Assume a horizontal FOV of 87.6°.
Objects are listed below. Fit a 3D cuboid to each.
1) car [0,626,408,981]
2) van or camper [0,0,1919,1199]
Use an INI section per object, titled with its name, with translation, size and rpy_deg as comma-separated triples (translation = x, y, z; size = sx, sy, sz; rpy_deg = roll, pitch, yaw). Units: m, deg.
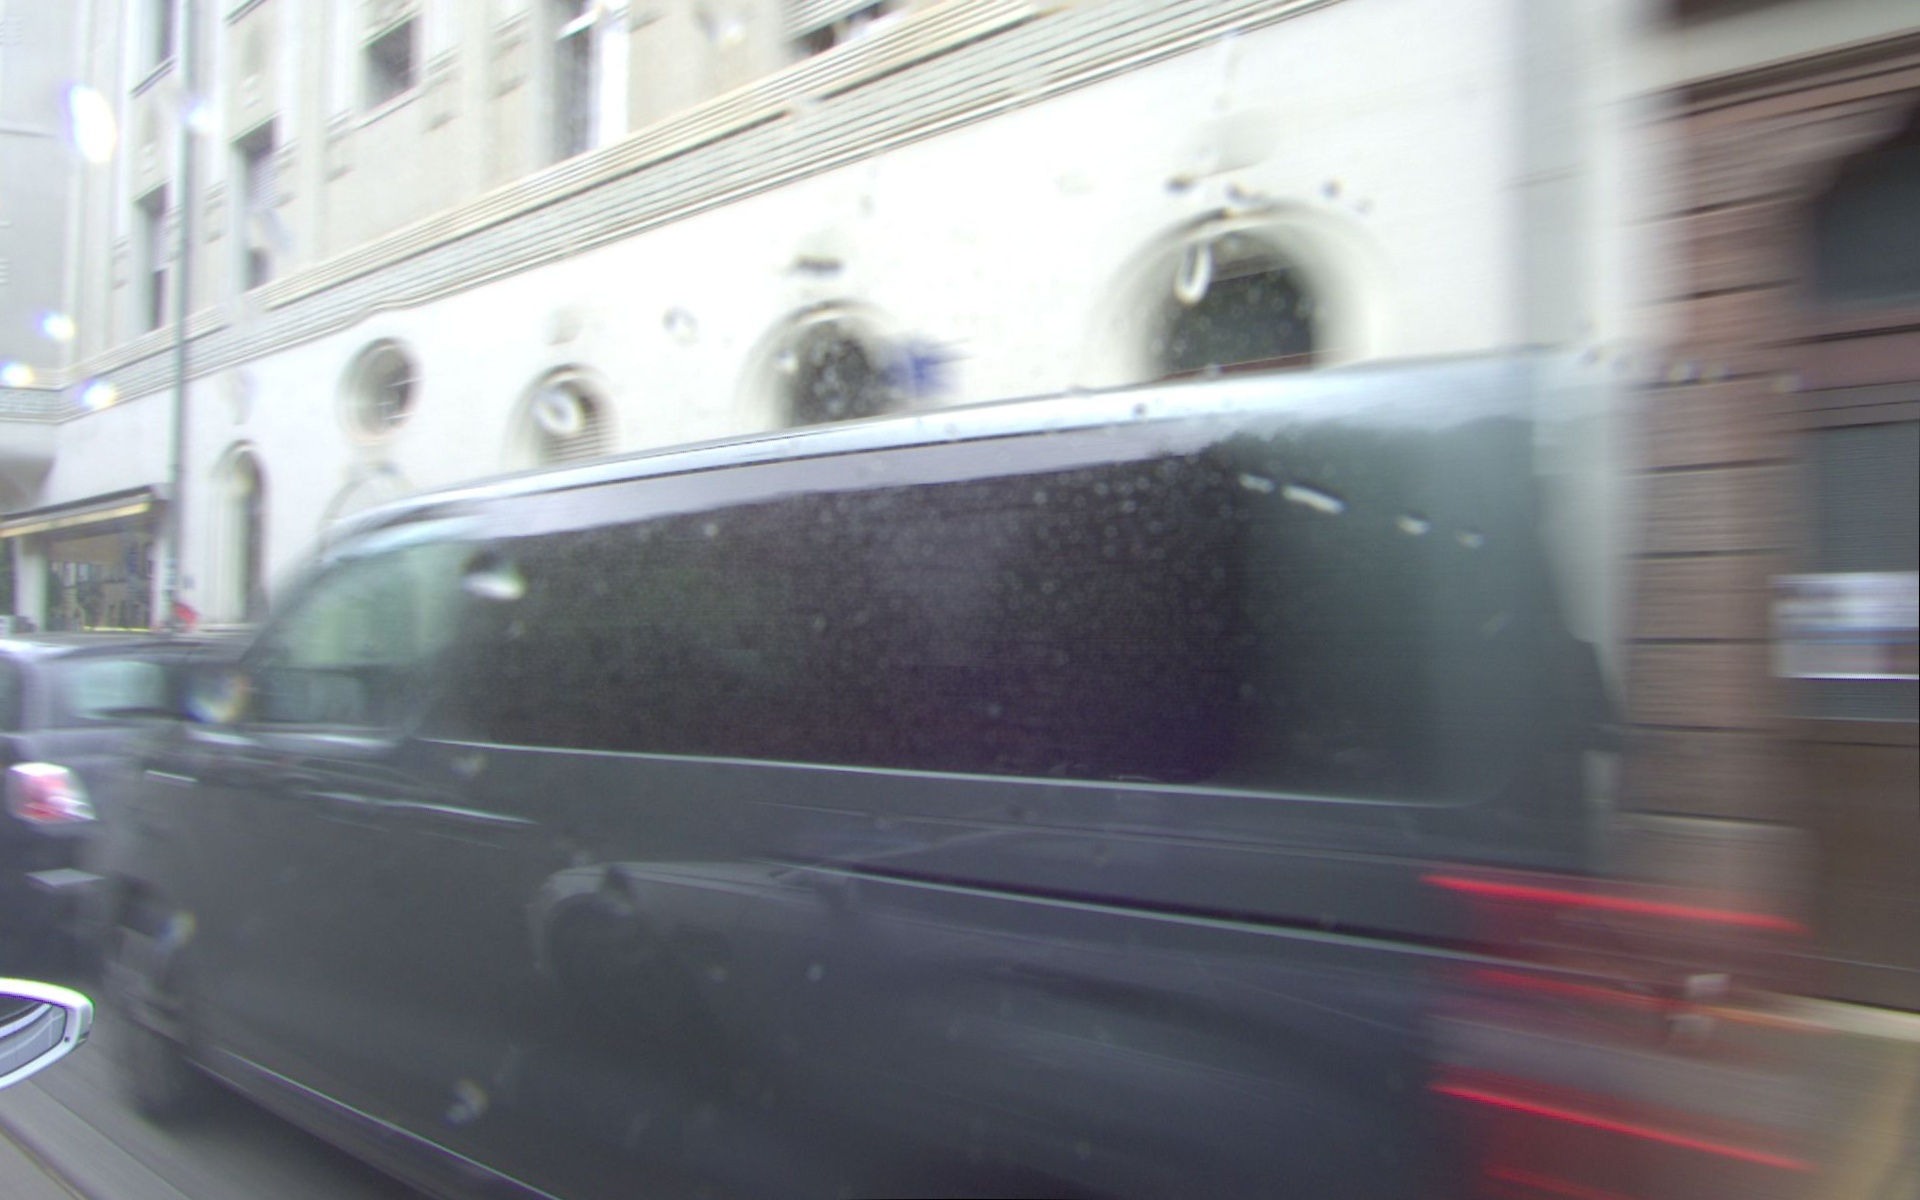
[car]
translation = -4.968, 0.866, 5.655
size = 3.652, 1.418, 1.707
rpy_deg = -1, -2, 32
[van or camper]
translation = -0.586, 0.551, 2.742
size = 4.983, 1.915, 2.018
rpy_deg = -1, -2, 33
